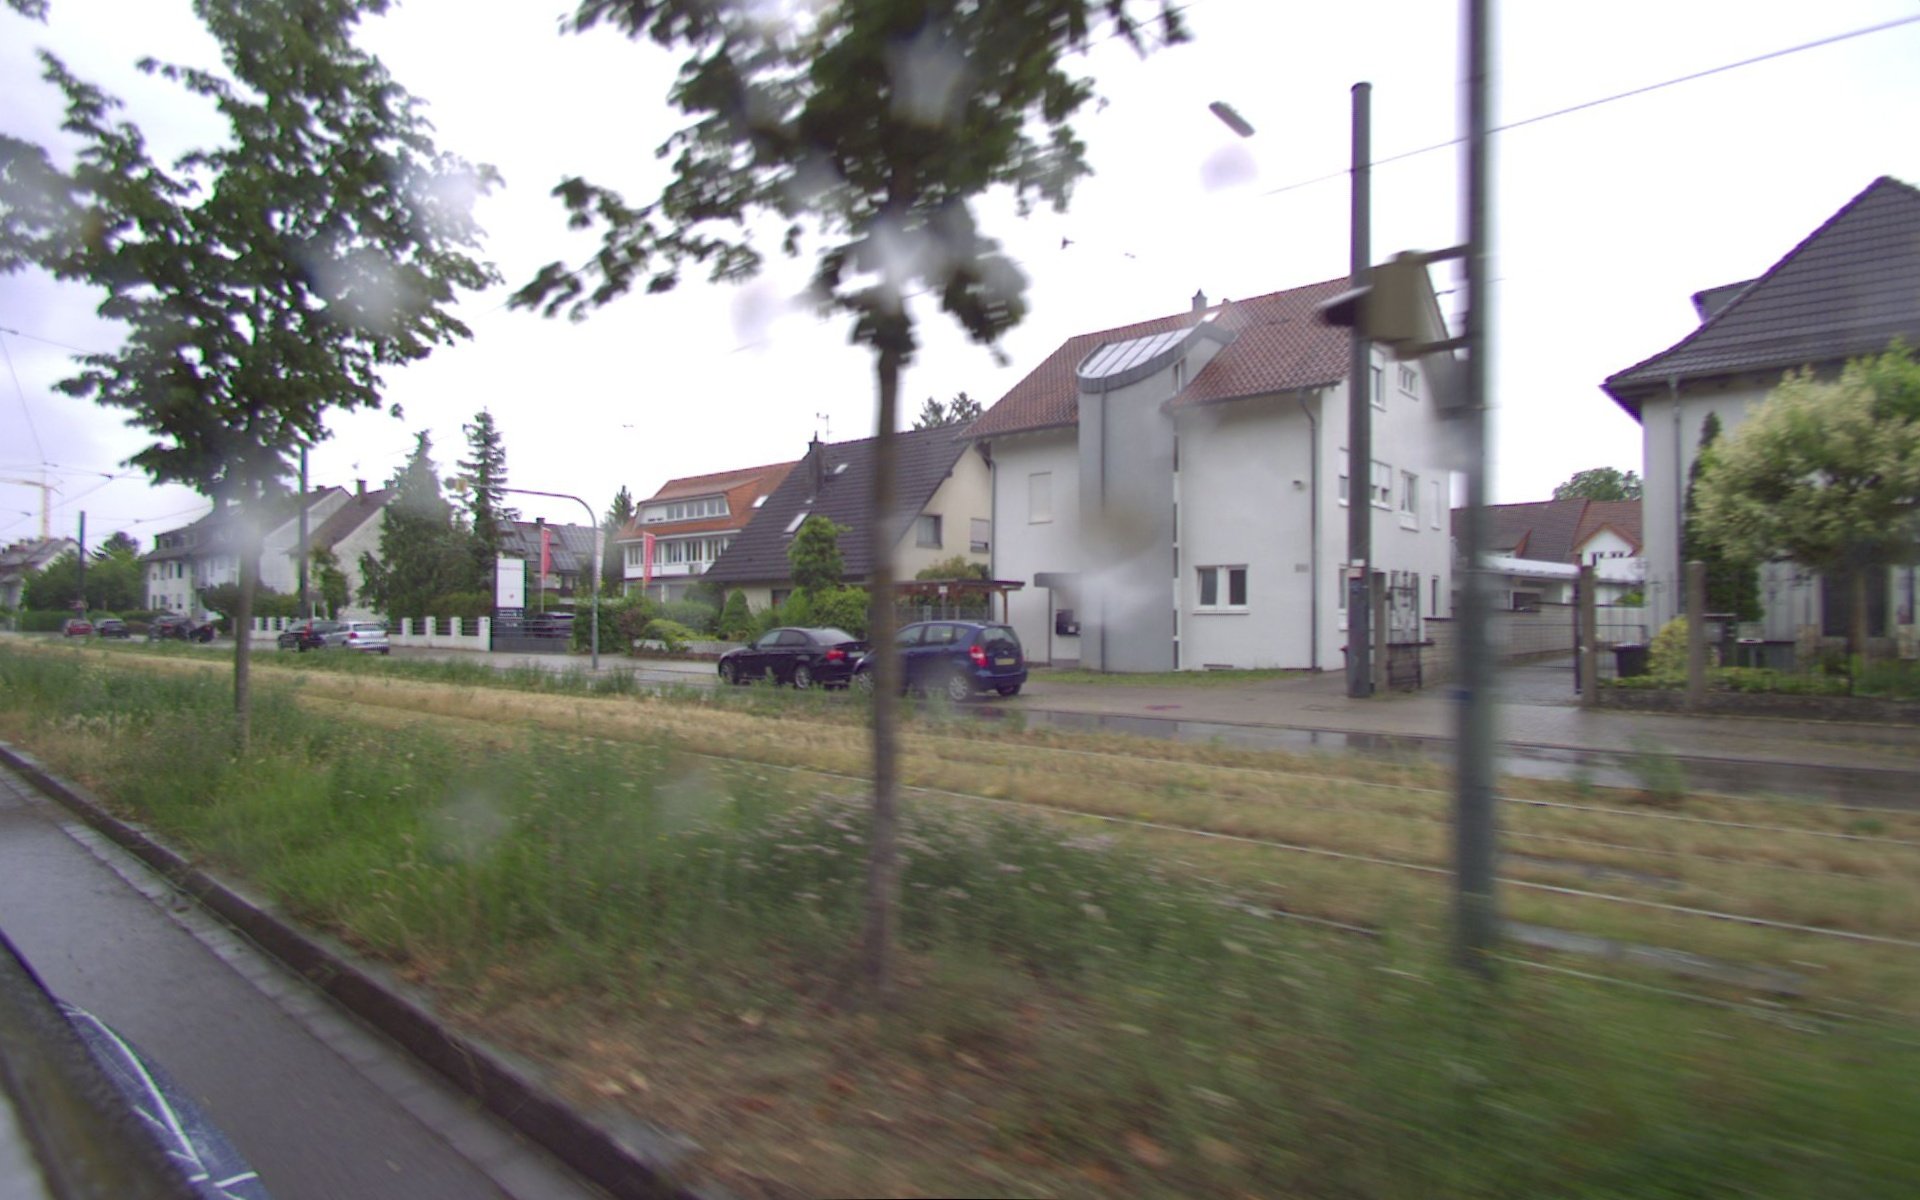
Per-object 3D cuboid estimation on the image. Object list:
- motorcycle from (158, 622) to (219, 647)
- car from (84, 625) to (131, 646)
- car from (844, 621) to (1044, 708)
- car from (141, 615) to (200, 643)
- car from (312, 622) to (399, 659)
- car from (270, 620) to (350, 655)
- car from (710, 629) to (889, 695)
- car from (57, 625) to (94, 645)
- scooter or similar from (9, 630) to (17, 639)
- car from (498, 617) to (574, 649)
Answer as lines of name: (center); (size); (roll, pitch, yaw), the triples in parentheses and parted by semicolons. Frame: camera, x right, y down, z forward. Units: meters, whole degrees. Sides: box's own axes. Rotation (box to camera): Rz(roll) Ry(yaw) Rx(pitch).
motorcycle: (-46.089, 2.043, 60.492); (2.645, 1.421, 1.269); (0, 0, -8)
car: (-62.831, 2.598, 74.568); (4.760, 1.421, 1.972); (-2, 0, 42)
car: (-0.394, 1.263, 20.928); (3.867, 1.562, 1.855); (-2, 0, 40)
car: (-49.943, 1.815, 63.980); (4.382, 1.687, 1.974); (-1, -1, 38)
car: (-25.773, 1.707, 43.108); (3.968, 1.421, 1.973); (-2, 0, 40)
car: (-29.800, 1.713, 46.365); (4.530, 1.466, 1.972); (-2, 0, 42)
car: (-3.882, 1.404, 24.128); (4.239, 1.361, 1.972); (-2, 0, 42)
car: (-71.535, 2.810, 81.841); (3.999, 1.468, 1.779); (-2, 0, 42)
scooter or similar: (-101.730, 3.709, 108.690); (1.255, 0.917, 0.343); (-1, -2, 35)
car: (-20.076, 1.540, 47.836); (3.968, 1.421, 1.681); (-2, 0, 40)
